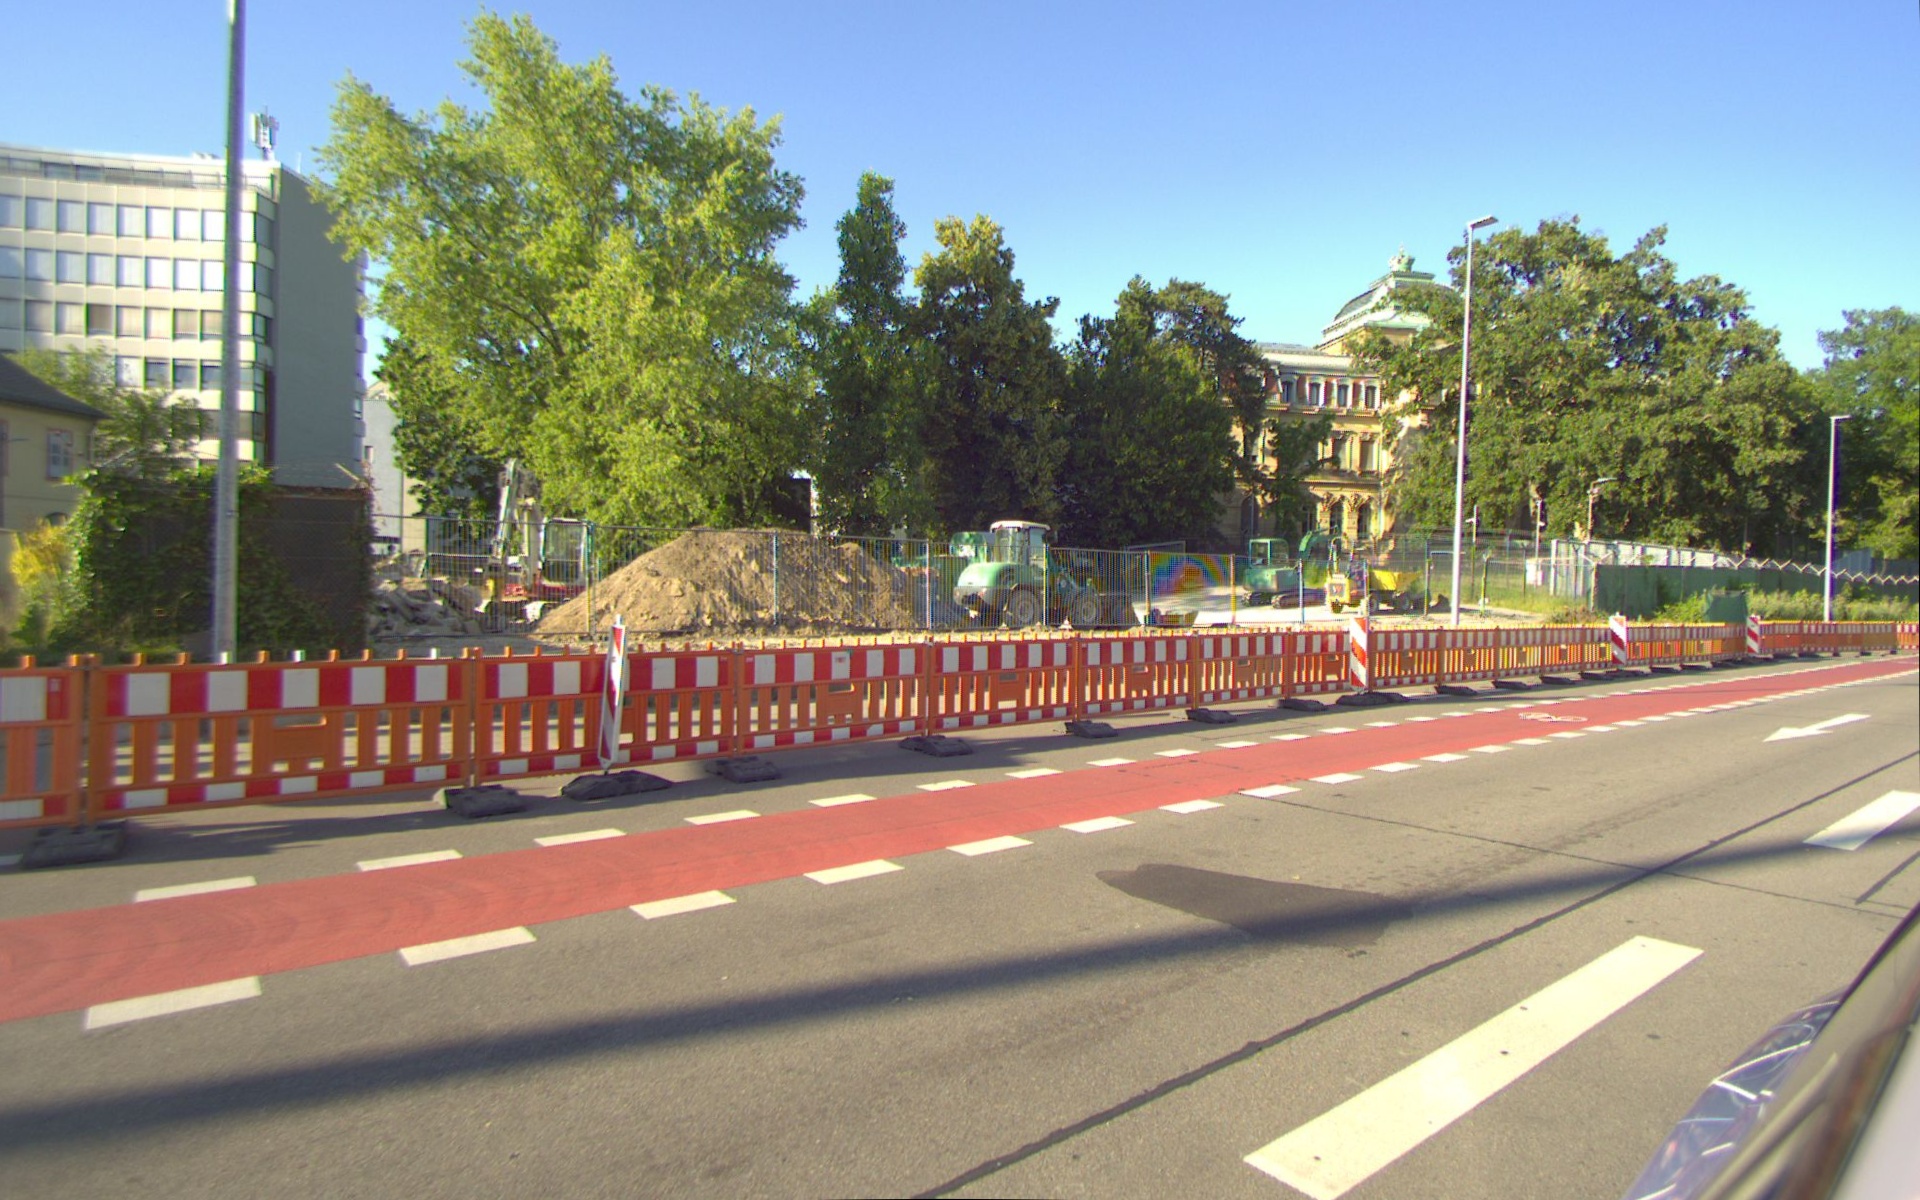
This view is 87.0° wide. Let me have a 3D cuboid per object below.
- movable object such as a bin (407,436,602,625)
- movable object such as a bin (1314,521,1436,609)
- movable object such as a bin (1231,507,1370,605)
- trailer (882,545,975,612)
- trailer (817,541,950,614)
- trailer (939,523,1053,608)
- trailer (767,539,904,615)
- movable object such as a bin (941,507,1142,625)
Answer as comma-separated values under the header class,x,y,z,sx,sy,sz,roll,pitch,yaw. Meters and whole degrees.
class,x,y,z,sx,sy,sz,roll,pitch,yaw
movable object such as a bin,-9.914,-1.421,22.743,2.802,3.602,6.094,1,1,-13
movable object such as a bin,14.770,-1.206,36.001,3.921,2.940,2.002,1,1,-31
movable object such as a bin,13.404,-1.643,39.741,5.392,3.601,2.284,1,1,-34
trailer,-1.250,-0.896,39.470,2.188,2.349,2.952,-6,6,-41
trailer,-2.856,-0.908,37.002,2.188,2.349,5.040,-6,7,-41
trailer,1.503,-1.493,41.561,3.921,3.126,2.614,-7,6,-41
trailer,-4.395,-0.892,35.120,2.188,2.349,5.040,-6,7,-41
movable object such as a bin,2.138,-0.812,25.830,4.853,2.737,2.282,0,1,-39
